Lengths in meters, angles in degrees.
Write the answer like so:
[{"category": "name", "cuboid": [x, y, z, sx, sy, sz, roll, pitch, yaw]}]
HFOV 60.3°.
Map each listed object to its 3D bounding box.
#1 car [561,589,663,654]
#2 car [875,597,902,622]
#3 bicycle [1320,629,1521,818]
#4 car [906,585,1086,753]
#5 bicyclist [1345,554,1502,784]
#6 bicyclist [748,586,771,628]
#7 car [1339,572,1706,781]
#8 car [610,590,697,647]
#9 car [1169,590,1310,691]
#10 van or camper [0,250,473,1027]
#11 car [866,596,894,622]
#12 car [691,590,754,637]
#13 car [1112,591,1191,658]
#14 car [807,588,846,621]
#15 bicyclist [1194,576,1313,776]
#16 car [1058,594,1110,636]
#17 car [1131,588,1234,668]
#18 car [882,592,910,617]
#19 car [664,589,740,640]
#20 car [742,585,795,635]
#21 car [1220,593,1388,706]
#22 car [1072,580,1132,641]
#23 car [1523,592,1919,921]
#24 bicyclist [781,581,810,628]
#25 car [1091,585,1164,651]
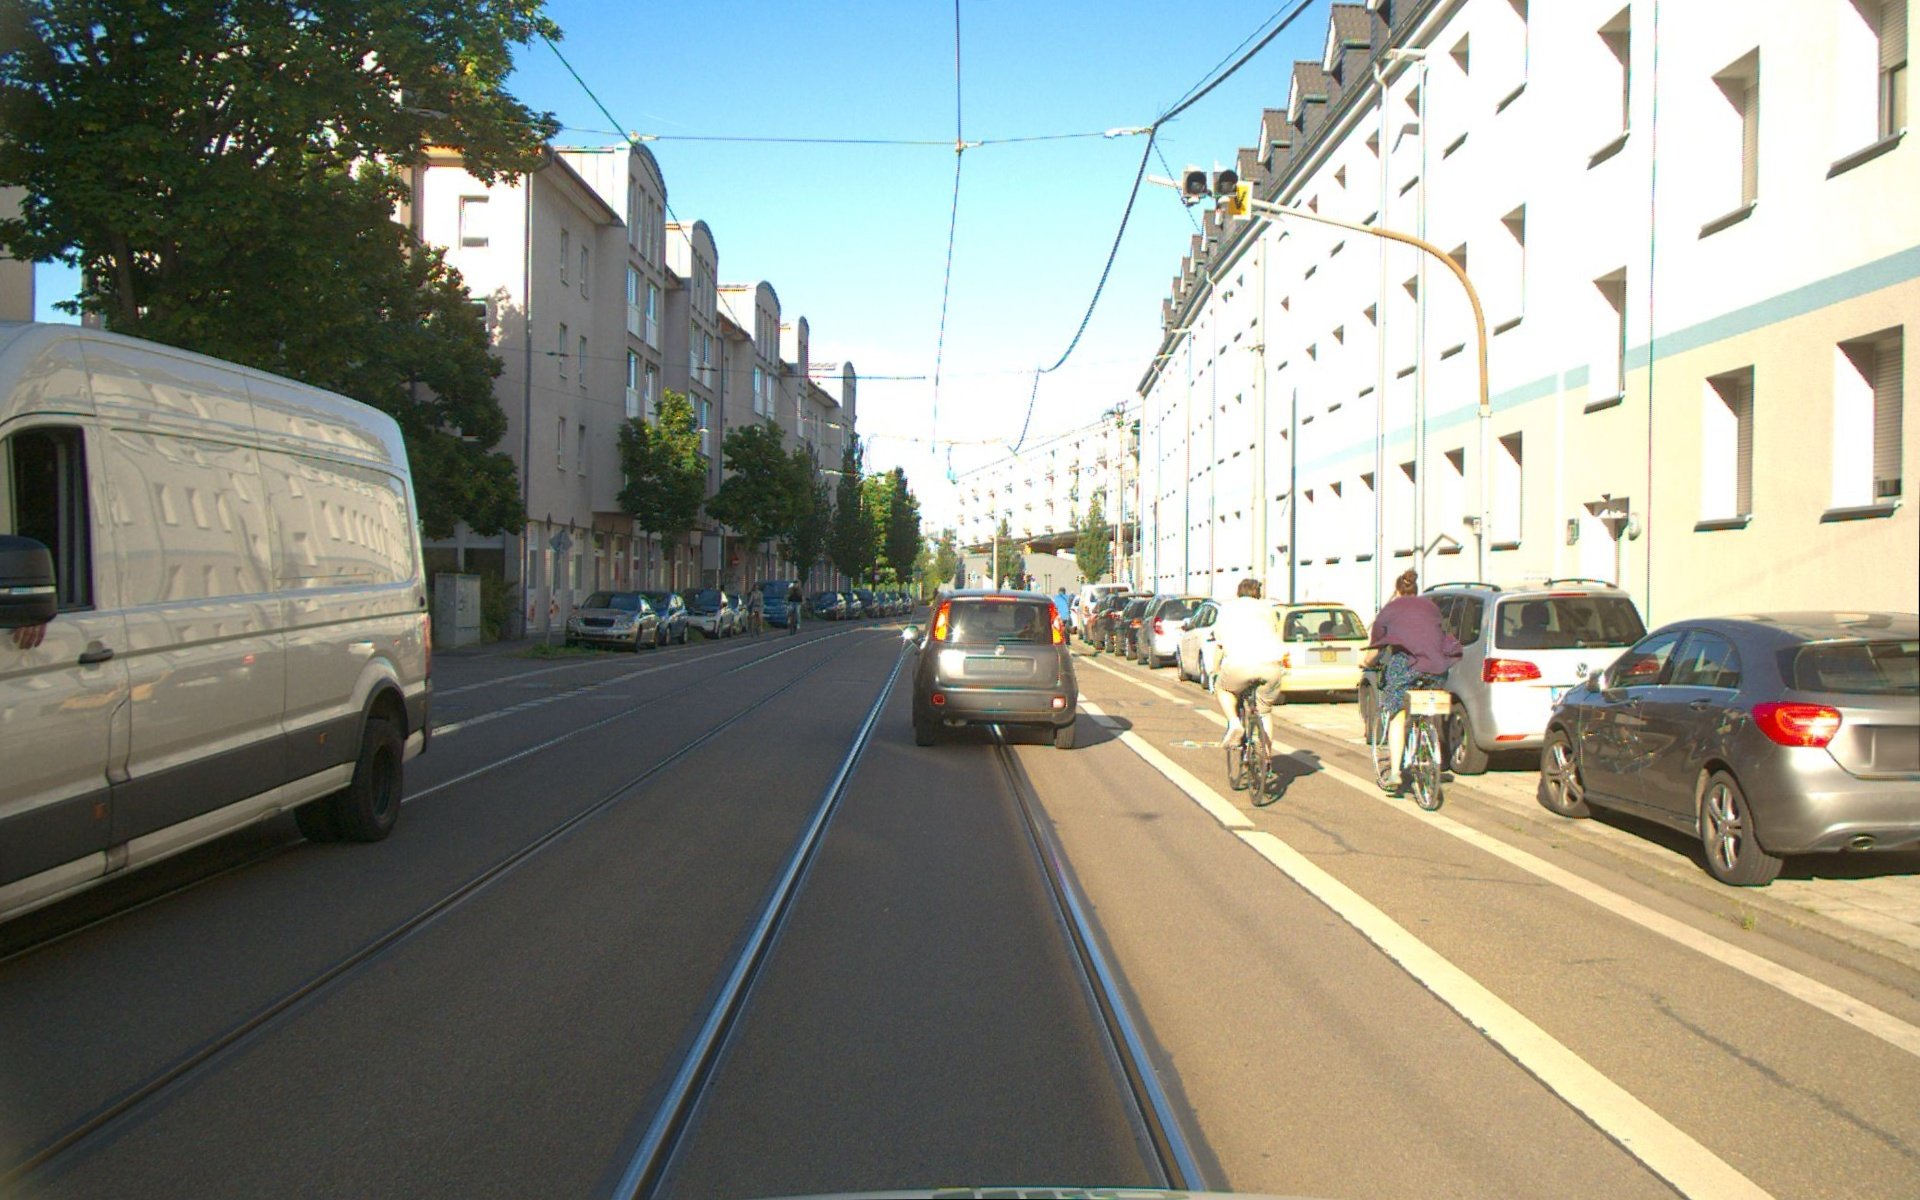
[{"category": "car", "cuboid": [-8.726, 0.495, 41.752, 1.709, 1.468, 3.999, 3, 0, -1]}, {"category": "car", "cuboid": [-4.668, 0.591, 108.211, 1.559, 1.567, 3.191, 1, 0, 0]}, {"category": "bicycle", "cuboid": [3.544, 0.904, 13.005, 0.804, 1.258, 2.461, 2, 0, -1]}, {"category": "car", "cuboid": [0.283, 0.636, 17.200, 1.526, 1.560, 3.483, 0, 0, -4]}, {"category": "bicyclist", "cuboid": [3.563, 0.510, 12.797, 0.915, 1.705, 0.969, 1, 0, -2]}, {"category": "bicyclist", "cuboid": [-6.932, 0.231, 57.253, 0.610, 1.404, 0.868, -4, 0, -1]}, {"category": "car", "cuboid": [5.179, 0.616, 15.965, 1.720, 1.694, 4.623, -1, 0, -3]}, {"category": "car", "cuboid": [-8.782, 0.498, 47.659, 1.792, 1.515, 3.999, -1, 0, -1]}, {"category": "car", "cuboid": [4.802, 0.637, 28.979, 1.645, 1.598, 4.509, -1, 0, -1]}, {"category": "van or camper", "cuboid": [-4.378, 0.110, 7.505, 2.321, 2.598, 6.834, 1, 0, 0]}, {"category": "car", "cuboid": [-5.044, 0.572, 104.196, 1.559, 1.567, 3.191, 1, 0, 0]}, {"category": "car", "cuboid": [-8.646, 0.468, 60.499, 1.792, 1.621, 3.999, 0, 0, -1]}, {"category": "car", "cuboid": [4.788, 0.589, 41.807, 1.559, 1.564, 4.008, -2, 0, 1]}, {"category": "car", "cuboid": [-6.879, 0.225, 85.558, 1.630, 1.646, 4.001, 1, 0, 1]}, {"category": "bicyclist", "cuboid": [2.261, 0.566, 12.845, 0.713, 1.487, 1.020, 1, 0, -2]}, {"category": "car", "cuboid": [5.080, 0.590, 68.215, 1.806, 1.674, 4.549, 1, 0, 0]}, {"category": "car", "cuboid": [4.851, 0.569, 36.548, 1.718, 1.598, 3.904, -3, 0, 1]}, {"category": "car", "cuboid": [-4.419, 0.305, 114.345, 1.806, 1.674, 3.697, 1, 0, 0]}, {"category": "car", "cuboid": [-8.633, 0.451, 55.639, 1.792, 1.621, 4.001, 1, 0, 1]}, {"category": "car", "cuboid": [-8.042, 0.385, 69.758, 1.630, 2.021, 4.343, 1, 0, 1]}, {"category": "car", "cuboid": [5.017, 0.662, 24.633, 1.483, 1.455, 4.200, -3, 0, -1]}, {"category": "car", "cuboid": [4.839, 0.336, 56.806, 1.750, 2.005, 4.155, -1, 0, 1]}, {"category": "car", "cuboid": [5.159, 0.760, 10.326, 1.825, 1.582, 4.366, -1, 0, 1]}, {"category": "bicyclist", "cuboid": [-5.672, 0.160, 57.180, 0.864, 1.588, 0.868, -3, 0, -1]}, {"category": "car", "cuboid": [4.724, 0.483, 47.118, 1.626, 1.699, 3.904, -3, 0, 0]}]
